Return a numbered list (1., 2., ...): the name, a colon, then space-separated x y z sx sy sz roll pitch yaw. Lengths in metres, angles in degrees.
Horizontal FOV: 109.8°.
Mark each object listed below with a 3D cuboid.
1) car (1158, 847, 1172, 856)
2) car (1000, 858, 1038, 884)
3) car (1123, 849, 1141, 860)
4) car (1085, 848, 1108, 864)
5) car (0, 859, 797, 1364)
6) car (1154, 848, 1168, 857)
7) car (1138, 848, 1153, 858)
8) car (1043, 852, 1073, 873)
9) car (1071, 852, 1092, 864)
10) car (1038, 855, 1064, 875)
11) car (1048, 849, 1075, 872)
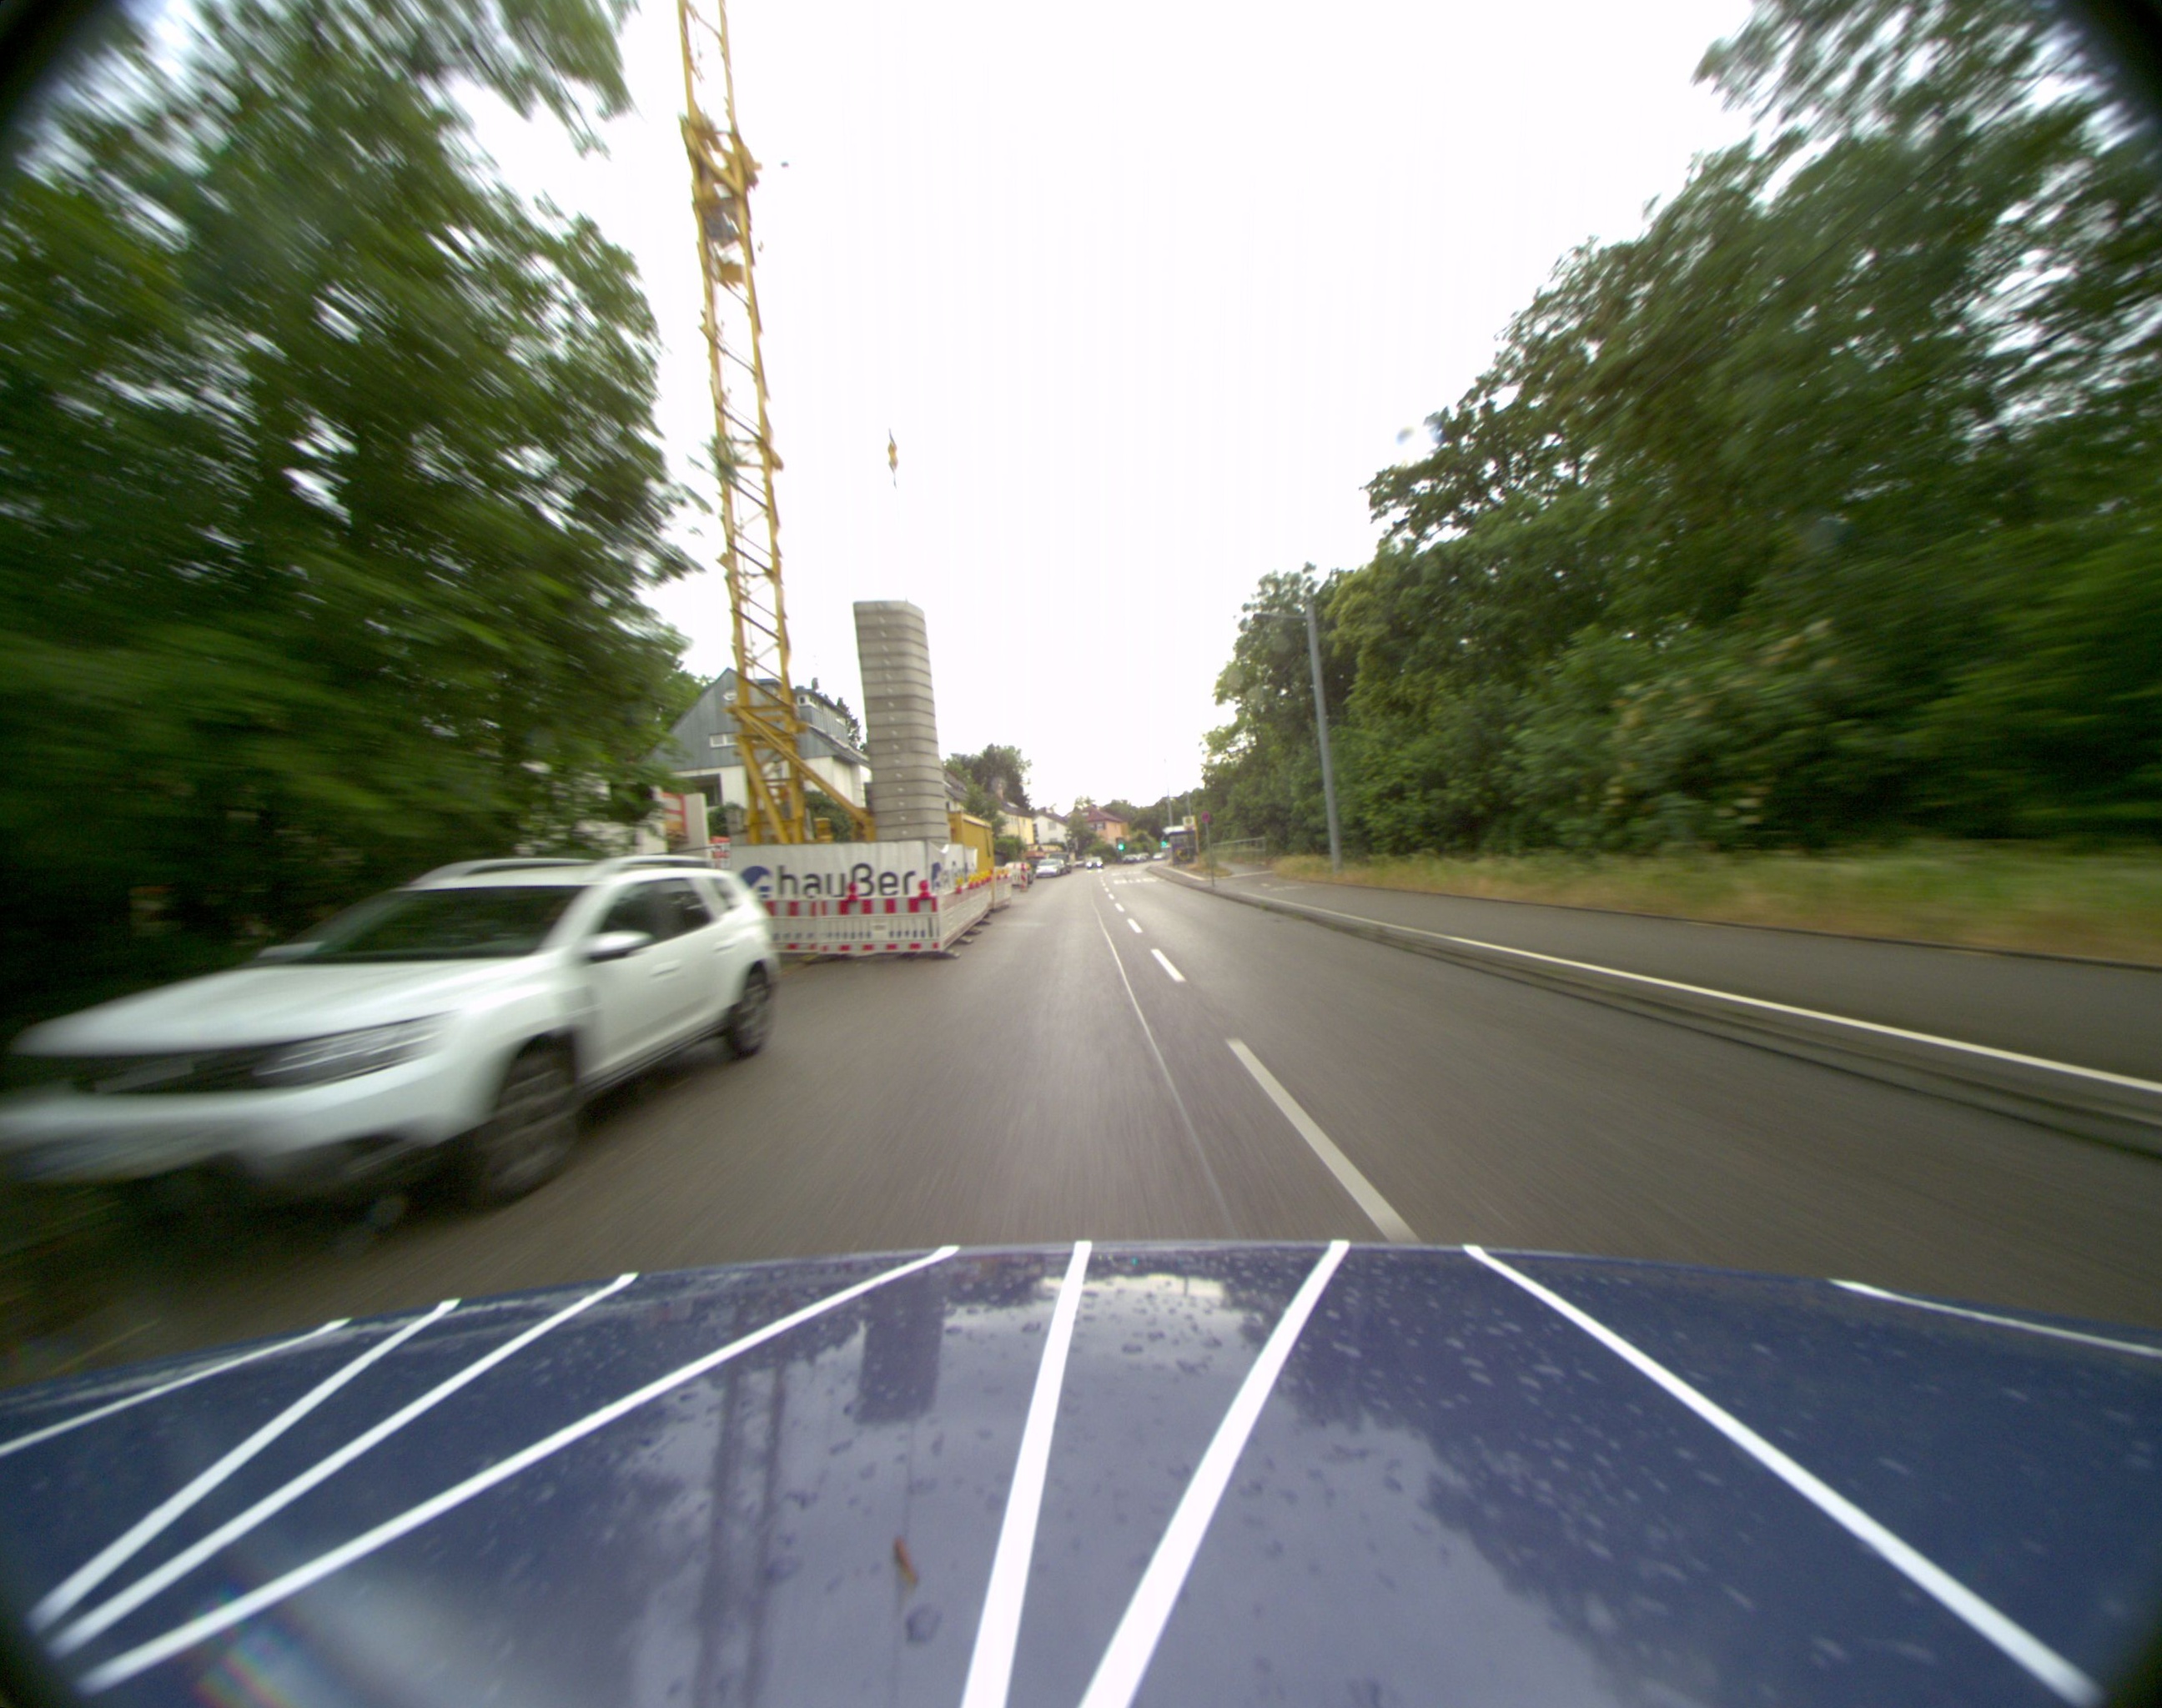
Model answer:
1. car: 16.780 -0.449 151.684 1.832 1.538 4.634 -5 1 17
2. car: -3.841 1.038 48.064 1.937 1.414 4.837 -4 0 0
3. car: 8.135 0.101 120.591 1.754 1.435 4.604 -5 1 16
4. car: 1.808 0.219 87.564 1.997 1.714 4.002 -4 0 7
5. car: -3.564 0.936 4.928 1.749 1.696 4.501 -3 0 -1
6. car: 15.424 -0.329 147.026 1.815 1.390 4.106 -5 1 17
7. car: 11.161 -0.174 131.568 1.733 1.558 4.526 -4 0 16
8. car: -1.981 0.732 66.549 1.935 1.587 4.396 -2 1 7
9. car: 0.139 0.595 116.199 1.935 1.587 4.346 -6 1 16
10. car: -2.422 0.880 61.903 1.676 1.449 3.386 -4 0 4
11. car: -1.757 0.535 71.621 1.998 2.002 4.957 -3 0 4
